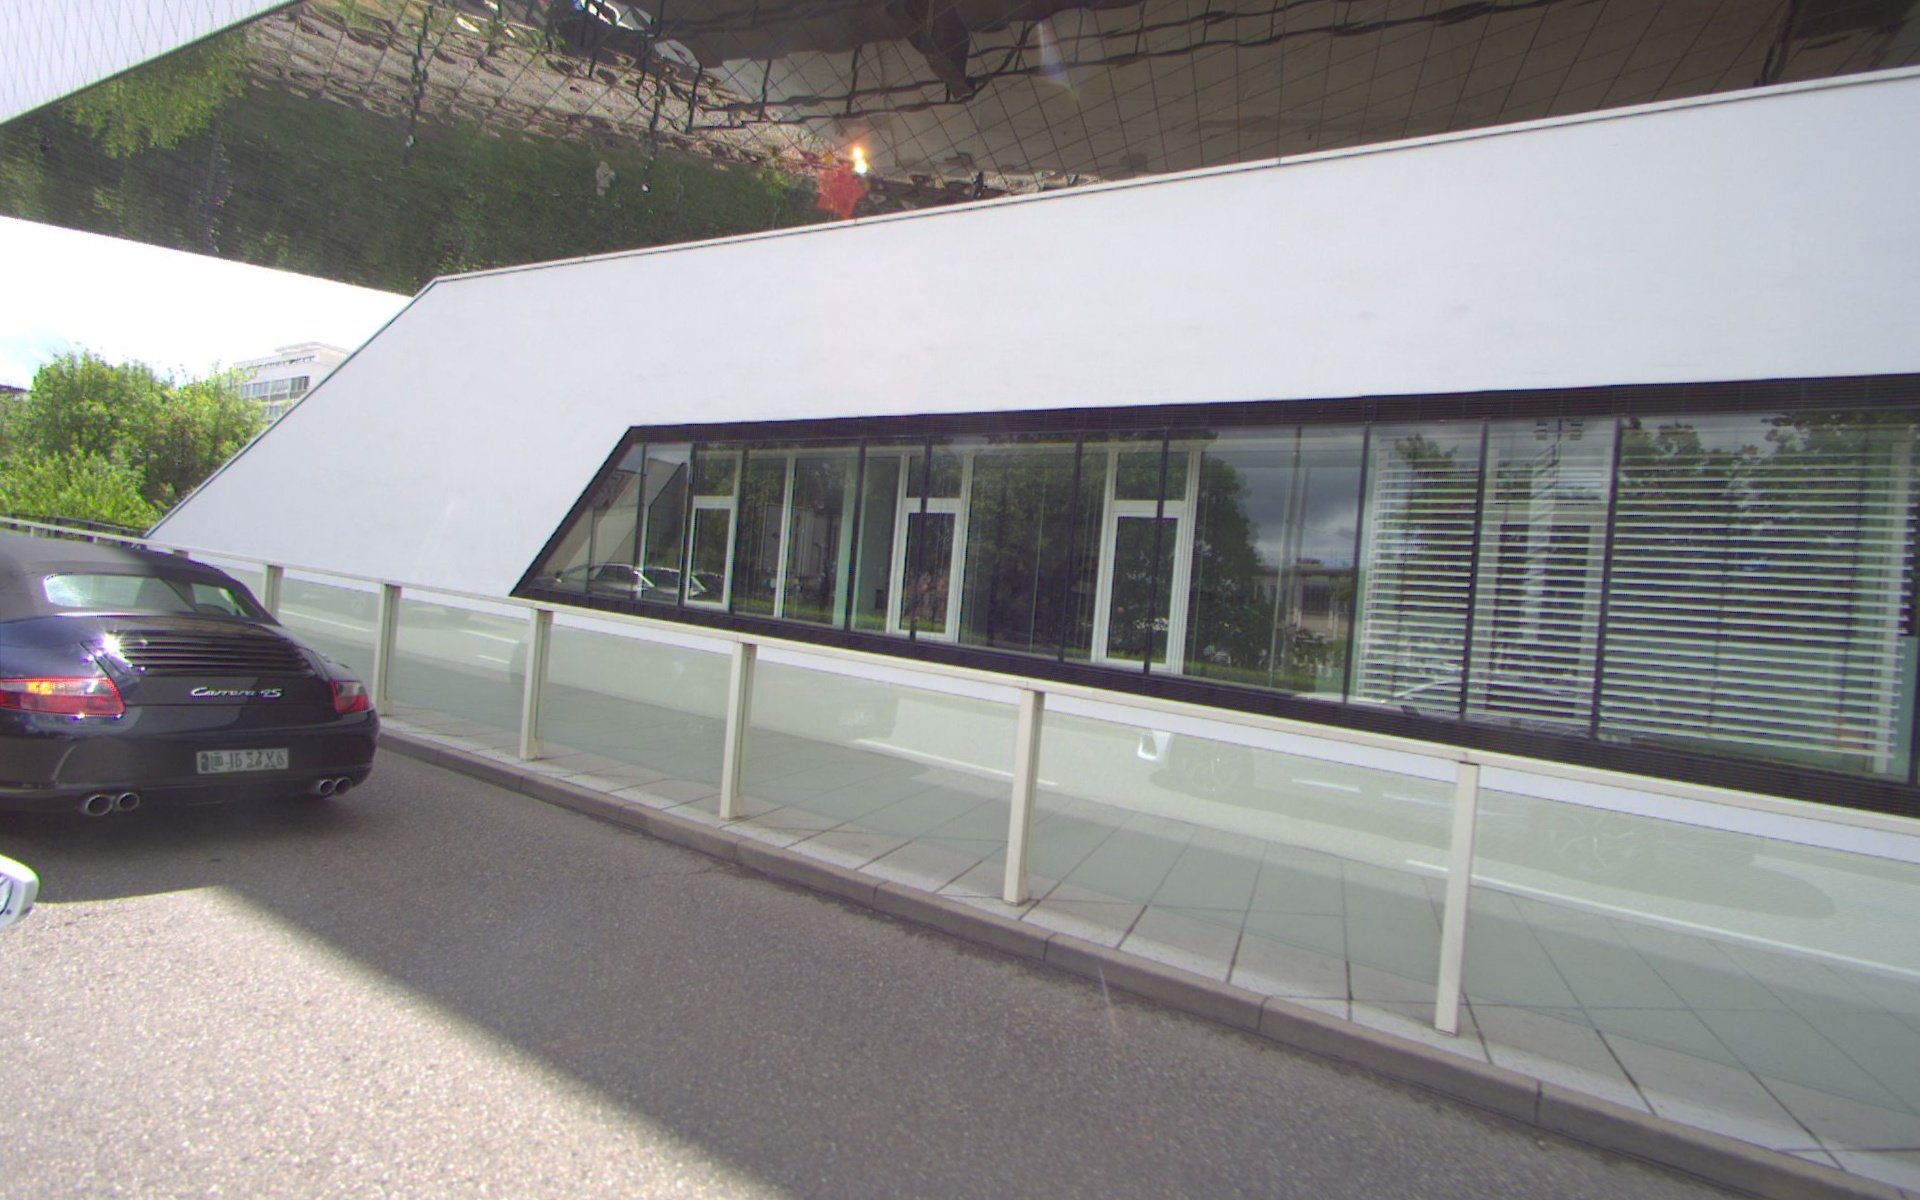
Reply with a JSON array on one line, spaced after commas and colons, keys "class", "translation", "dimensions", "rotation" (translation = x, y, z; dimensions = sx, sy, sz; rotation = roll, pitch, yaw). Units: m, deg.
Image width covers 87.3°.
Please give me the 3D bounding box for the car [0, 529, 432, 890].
[{"class": "car", "translation": [-4.894, 0.330, 5.442], "dimensions": [4.020, 1.290, 1.722], "rotation": [6, -1, 32]}]
